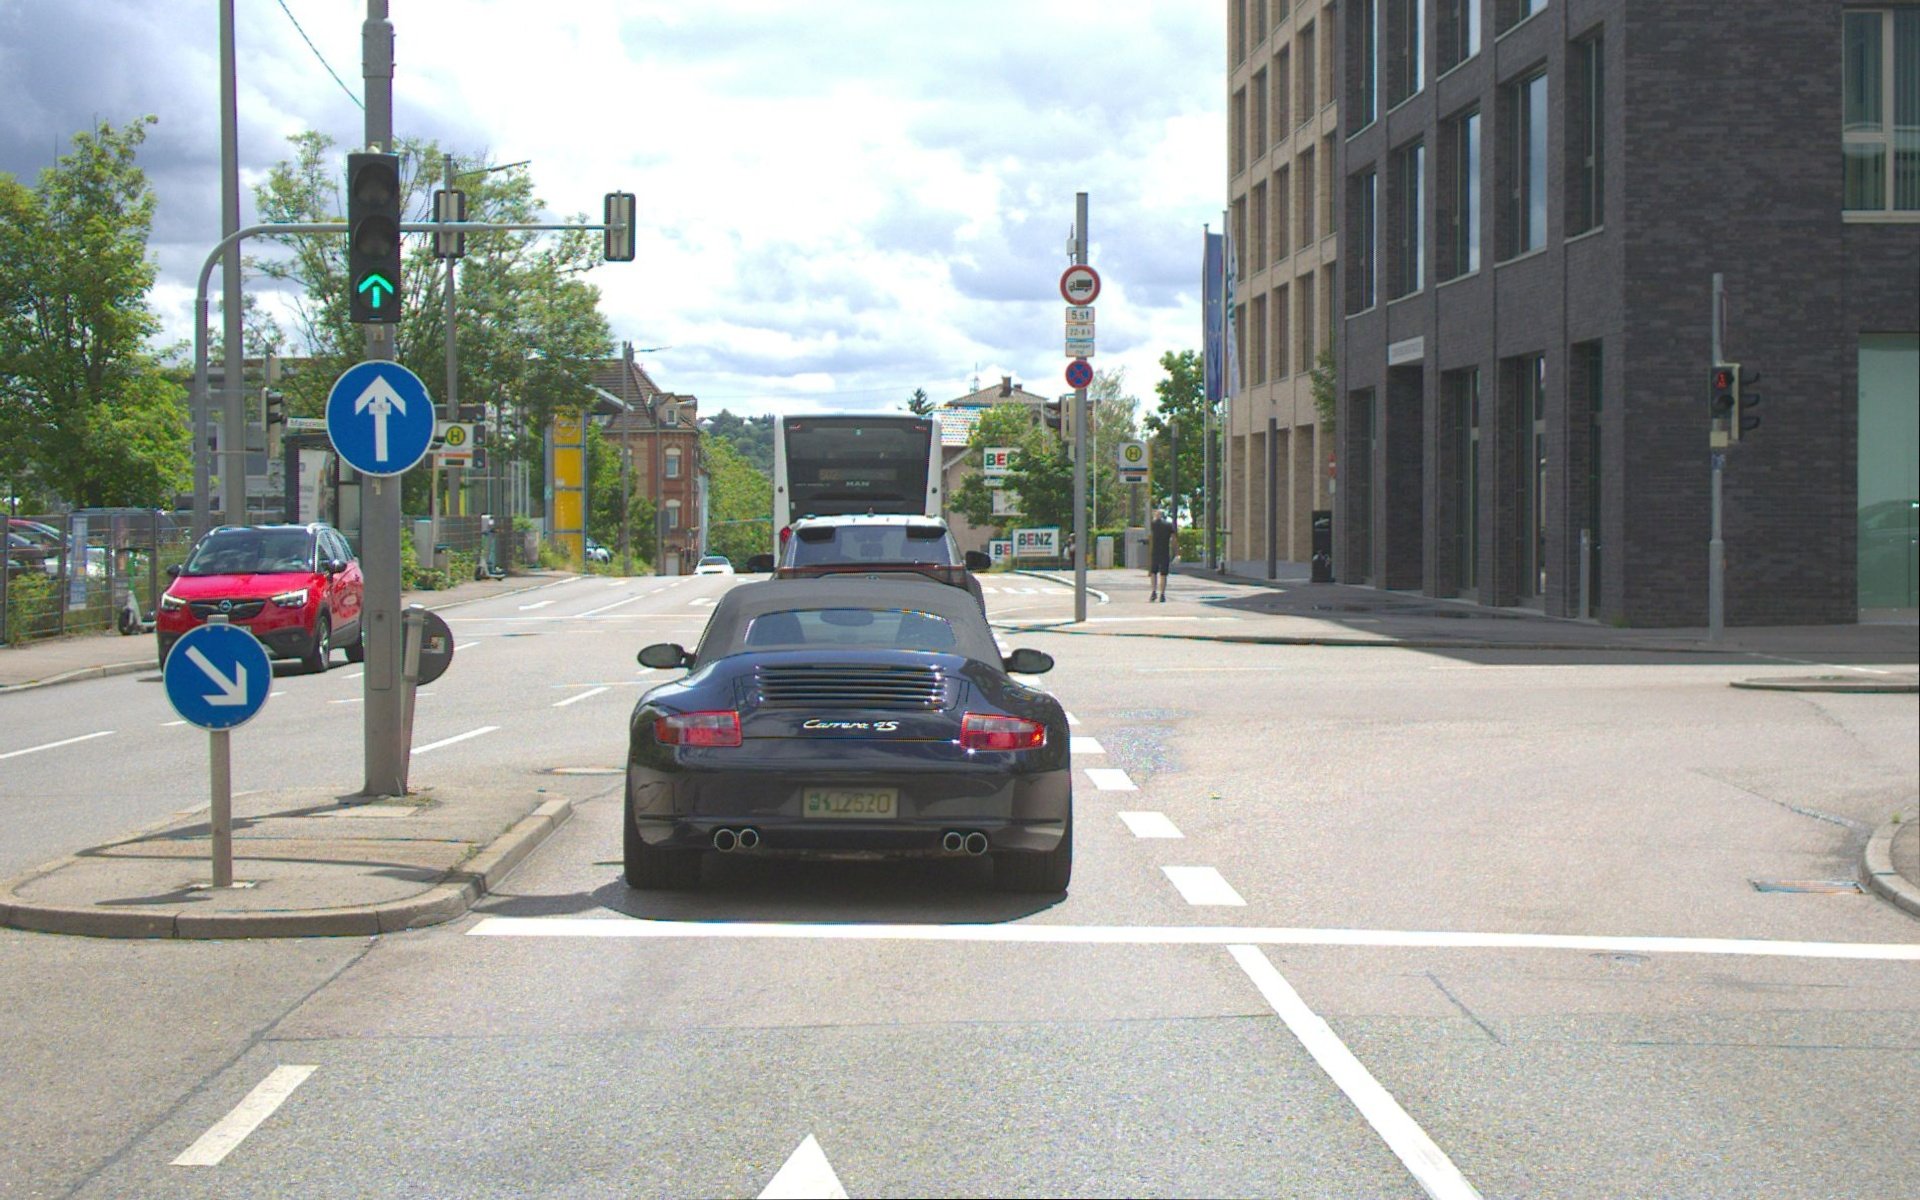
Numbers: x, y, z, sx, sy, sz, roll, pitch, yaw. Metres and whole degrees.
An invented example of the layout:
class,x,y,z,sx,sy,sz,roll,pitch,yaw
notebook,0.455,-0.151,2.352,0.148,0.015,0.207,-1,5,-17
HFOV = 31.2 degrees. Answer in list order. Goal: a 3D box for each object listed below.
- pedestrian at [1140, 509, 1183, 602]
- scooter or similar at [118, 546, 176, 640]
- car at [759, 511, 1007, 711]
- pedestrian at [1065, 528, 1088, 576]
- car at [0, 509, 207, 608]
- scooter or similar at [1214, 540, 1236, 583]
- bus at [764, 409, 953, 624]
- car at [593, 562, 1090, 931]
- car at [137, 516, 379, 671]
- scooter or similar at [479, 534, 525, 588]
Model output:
class,x,y,z,sx,sy,sz,roll,pitch,yaw
pedestrian,3.748,-0.837,64.074,0.683,1.722,0.962,1,1,-2
scooter or similar,-10.748,-0.099,45.455,0.424,1.206,1.126,1,1,3
car,-0.731,0.046,29.397,1.930,1.577,4.209,0,1,-4
pedestrian,3.787,-1.554,111.889,0.687,1.531,0.856,0,0,-2
car,-18.031,-0.861,71.997,4.275,2.007,2.141,-1,0,-8
scooter or similar,7.154,-1.052,92.885,0.427,1.149,1.404,-1,1,-2
bus,-1.542,-1.403,57.295,2.802,3.187,12.196,0,1,0
car,-0.489,0.550,15.491,1.930,1.372,4.208,0,1,-1
car,-7.619,-0.115,37.668,1.841,1.590,4.000,0,2,0
scooter or similar,-10.964,-0.935,82.329,0.535,1.258,1.470,2,1,16
